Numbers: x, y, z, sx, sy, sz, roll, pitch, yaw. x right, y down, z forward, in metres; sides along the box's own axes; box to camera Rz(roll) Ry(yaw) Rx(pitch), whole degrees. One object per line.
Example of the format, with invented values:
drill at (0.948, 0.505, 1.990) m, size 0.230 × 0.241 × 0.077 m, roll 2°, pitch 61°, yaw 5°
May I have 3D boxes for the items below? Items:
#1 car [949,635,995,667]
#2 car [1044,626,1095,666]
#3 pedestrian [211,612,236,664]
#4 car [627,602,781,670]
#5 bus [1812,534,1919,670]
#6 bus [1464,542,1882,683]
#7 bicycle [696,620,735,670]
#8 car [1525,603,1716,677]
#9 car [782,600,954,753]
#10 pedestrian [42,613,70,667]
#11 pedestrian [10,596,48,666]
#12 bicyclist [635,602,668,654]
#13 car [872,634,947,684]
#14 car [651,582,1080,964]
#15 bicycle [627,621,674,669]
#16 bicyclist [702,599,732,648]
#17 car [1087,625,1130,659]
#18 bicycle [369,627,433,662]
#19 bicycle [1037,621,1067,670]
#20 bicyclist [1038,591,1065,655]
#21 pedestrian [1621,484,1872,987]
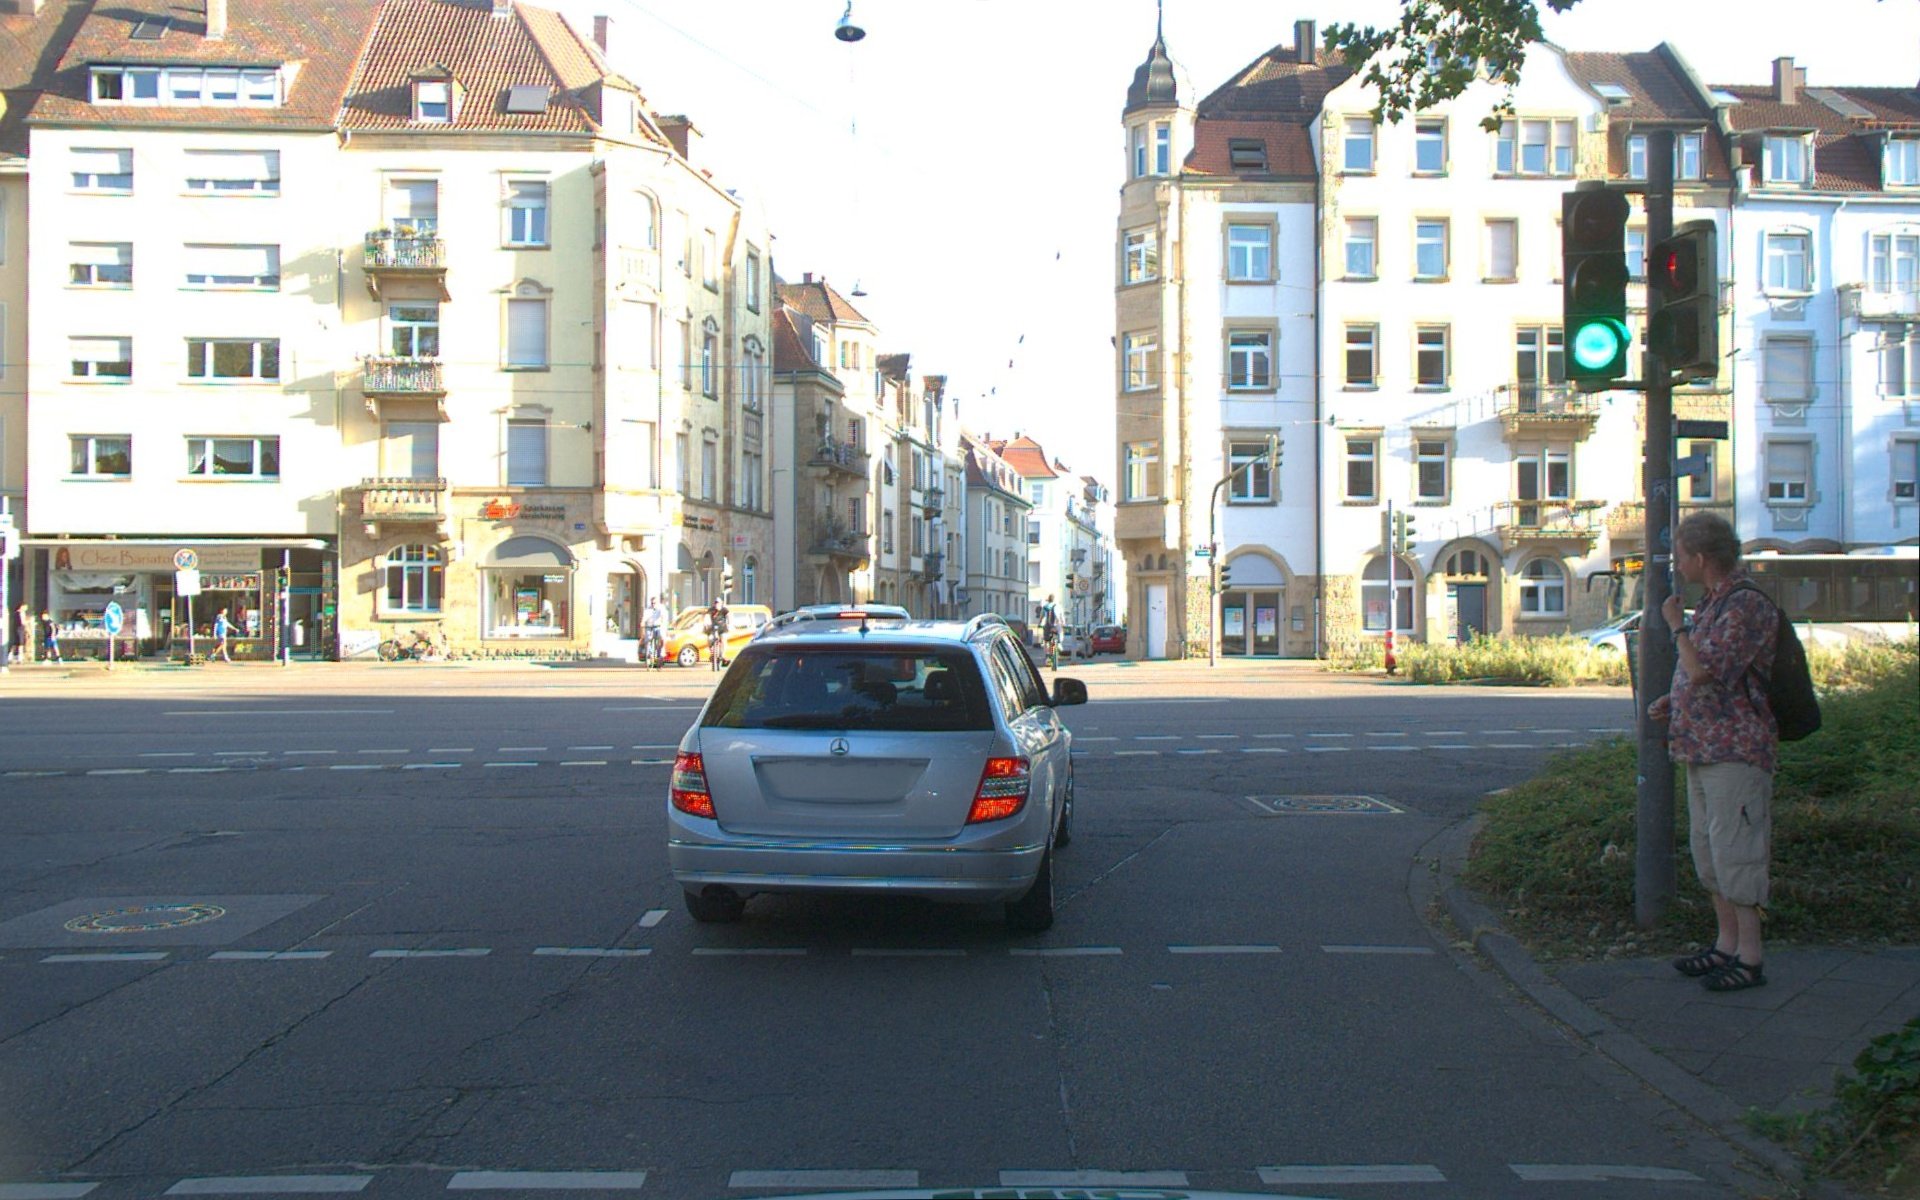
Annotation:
car at (0.666, 2.671, 87.443) m, size 1.791 × 1.644 × 4.003 m, roll 1°, pitch -1°, yaw 10°
car at (4.725, 1.937, 70.874) m, size 1.791 × 1.644 × 4.003 m, roll 1°, pitch -1°, yaw 9°
pedestrian at (-22.350, 1.151, 50.184) m, size 0.552 × 1.591 × 0.466 m, roll 1°, pitch -1°, yaw -7°
car at (-7.524, 1.050, 48.957) m, size 1.887 × 1.933 × 4.282 m, roll 0°, pitch -1°, yaw 42°
bus at (29.287, 0.142, 44.039) m, size 11.698 × 3.433 × 3.263 m, roll 1°, pitch -1°, yaw -3°
bus at (18.598, 0.345, 43.519) m, size 9.669 × 3.433 × 3.274 m, roll 1°, pitch -1°, yaw -3°
bicycle at (-5.975, 1.087, 40.525) m, size 0.637 × 1.124 × 1.925 m, roll 1°, pitch 1°, yaw 1°
car at (16.056, 0.962, 40.351) m, size 3.905 × 1.713 × 1.936 m, roll 1°, pitch -1°, yaw 0°
car at (-0.951, 0.789, 18.461) m, size 1.697 × 1.506 × 3.813 m, roll 1°, pitch -1°, yaw -1°
pedestrian at (-26.822, 1.179, 49.082) m, size 0.552 × 1.591 × 0.466 m, roll 1°, pitch -1°, yaw -7°
pedestrian at (-27.525, 0.912, 48.906) m, size 0.653 × 2.049 × 0.769 m, roll 0°, pitch -1°, yaw 5°
bicyclist at (-7.490, 0.675, 40.174) m, size 0.645 × 1.257 × 0.767 m, roll 1°, pitch -1°, yaw 0°
car at (-1.822, 2.127, 60.595) m, size 1.791 × 1.736 × 4.003 m, roll 1°, pitch -1°, yaw 13°
car at (-0.235, 0.717, 8.739) m, size 1.695 × 1.503 × 4.174 m, roll 1°, pitch -1°, yaw 4°
bicycle at (-7.500, 1.068, 40.180) m, size 0.637 × 1.124 × 2.552 m, roll 1°, pitch -1°, yaw 1°
bicyclist at (-5.961, 0.572, 40.653) m, size 0.597 × 1.178 × 0.767 m, roll 1°, pitch -1°, yaw 0°
car at (7.818, 2.191, 86.766) m, size 1.791 × 1.736 × 4.003 m, roll 1°, pitch -1°, yaw 11°
bicycle at (-17.201, 1.363, 50.901) m, size 1.771 × 1.046 × 0.492 m, roll 0°, pitch -1°, yaw -5°
bicycle at (2.203, 1.075, 39.761) m, size 0.606 × 1.124 × 2.552 m, roll 1°, pitch -1°, yaw 1°
bicyclist at (2.202, 0.555, 39.790) m, size 0.597 × 1.520 × 0.767 m, roll 1°, pitch -1°, yaw 0°
pedestrian at (3.030, 0.498, 6.429) m, size 0.685 × 1.838 × 0.666 m, roll 1°, pitch -1°, yaw 5°
